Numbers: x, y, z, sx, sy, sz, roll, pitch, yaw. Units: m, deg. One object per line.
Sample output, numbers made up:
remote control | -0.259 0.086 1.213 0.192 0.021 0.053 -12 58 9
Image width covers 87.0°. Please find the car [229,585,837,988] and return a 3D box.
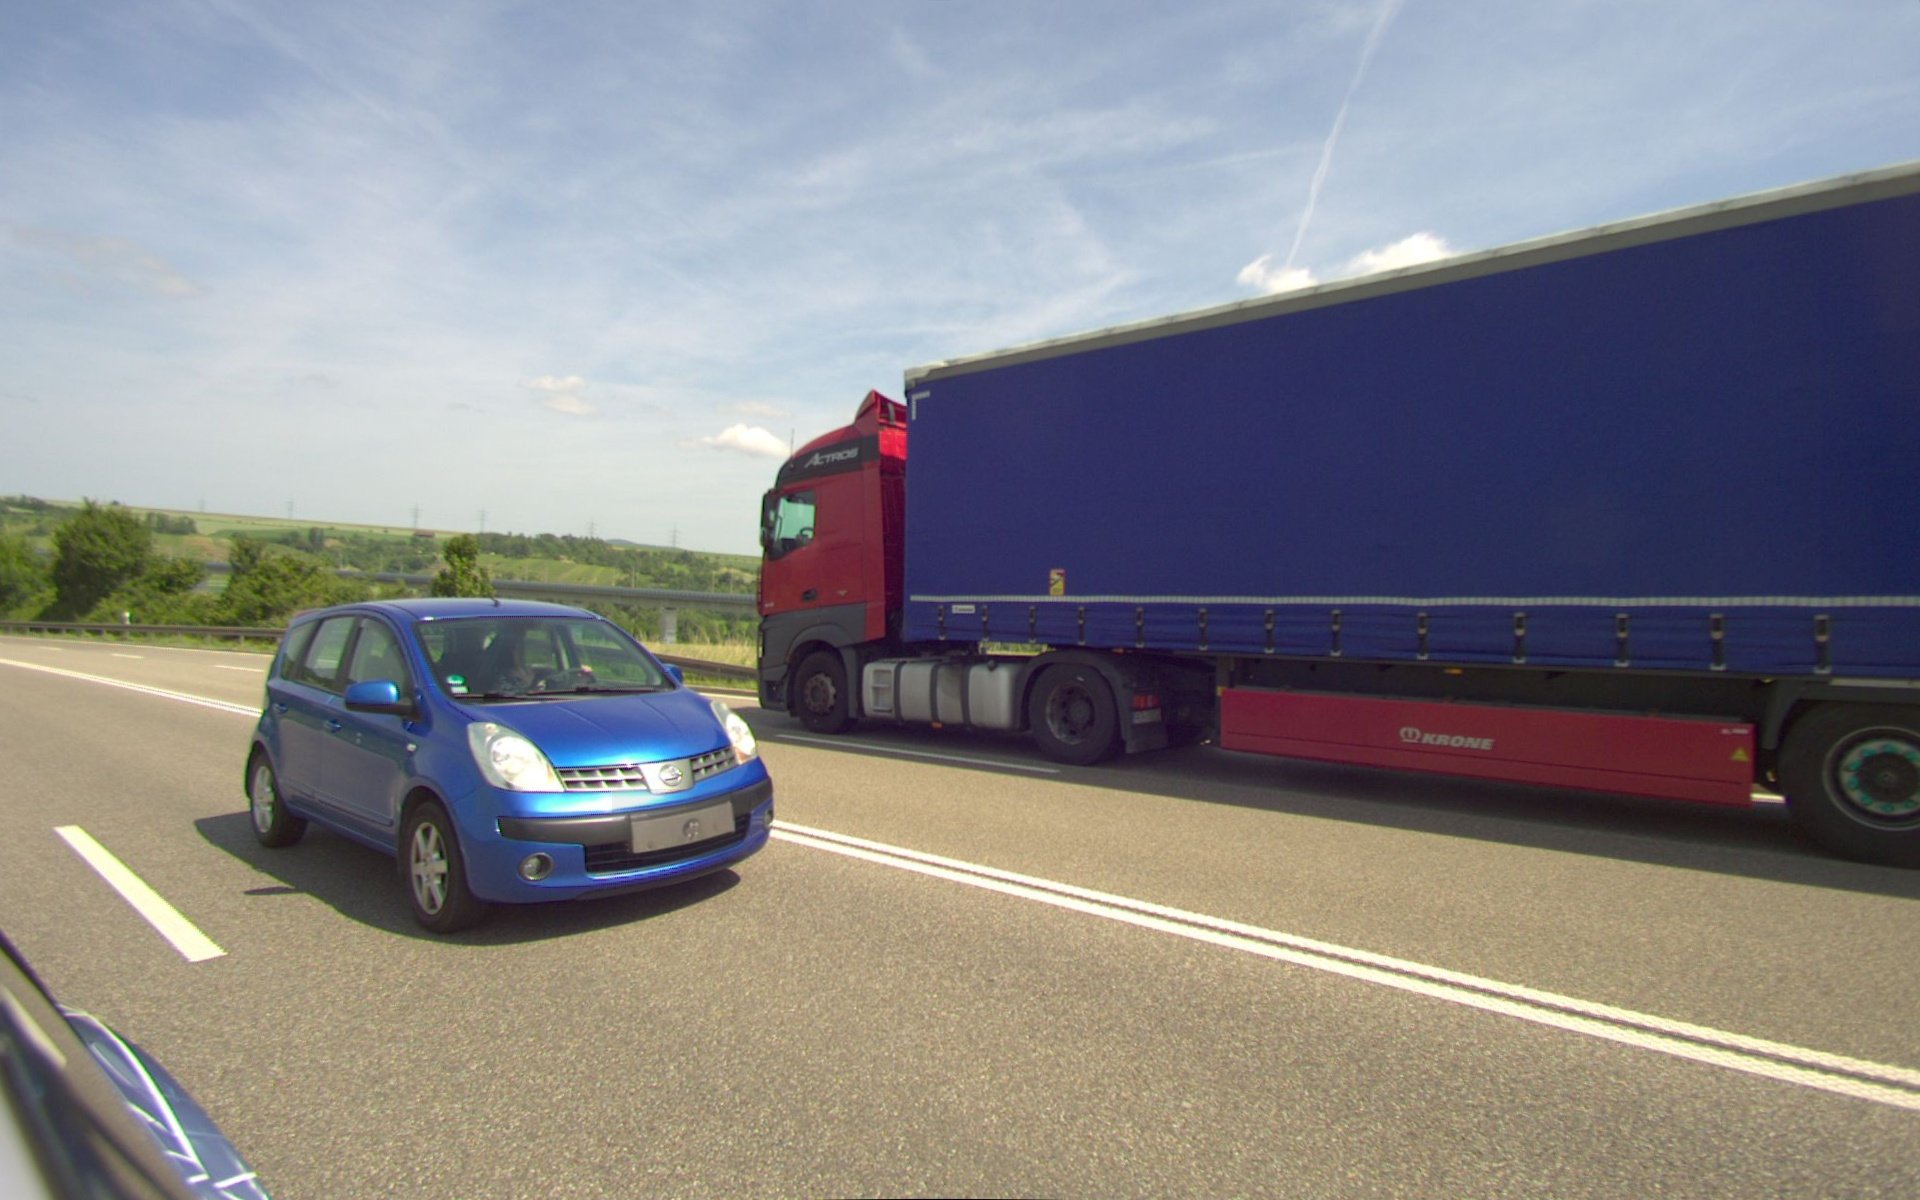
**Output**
car | -2.633 0.739 5.775 3.912 1.542 1.615 -1 -1 40

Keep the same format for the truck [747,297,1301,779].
truck | 0.453 -0.475 11.670 6.087 4.133 2.589 -1 -2 42

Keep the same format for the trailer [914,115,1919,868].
trailer | 5.381 -0.567 7.132 13.580 4.133 2.518 -1 -2 42
